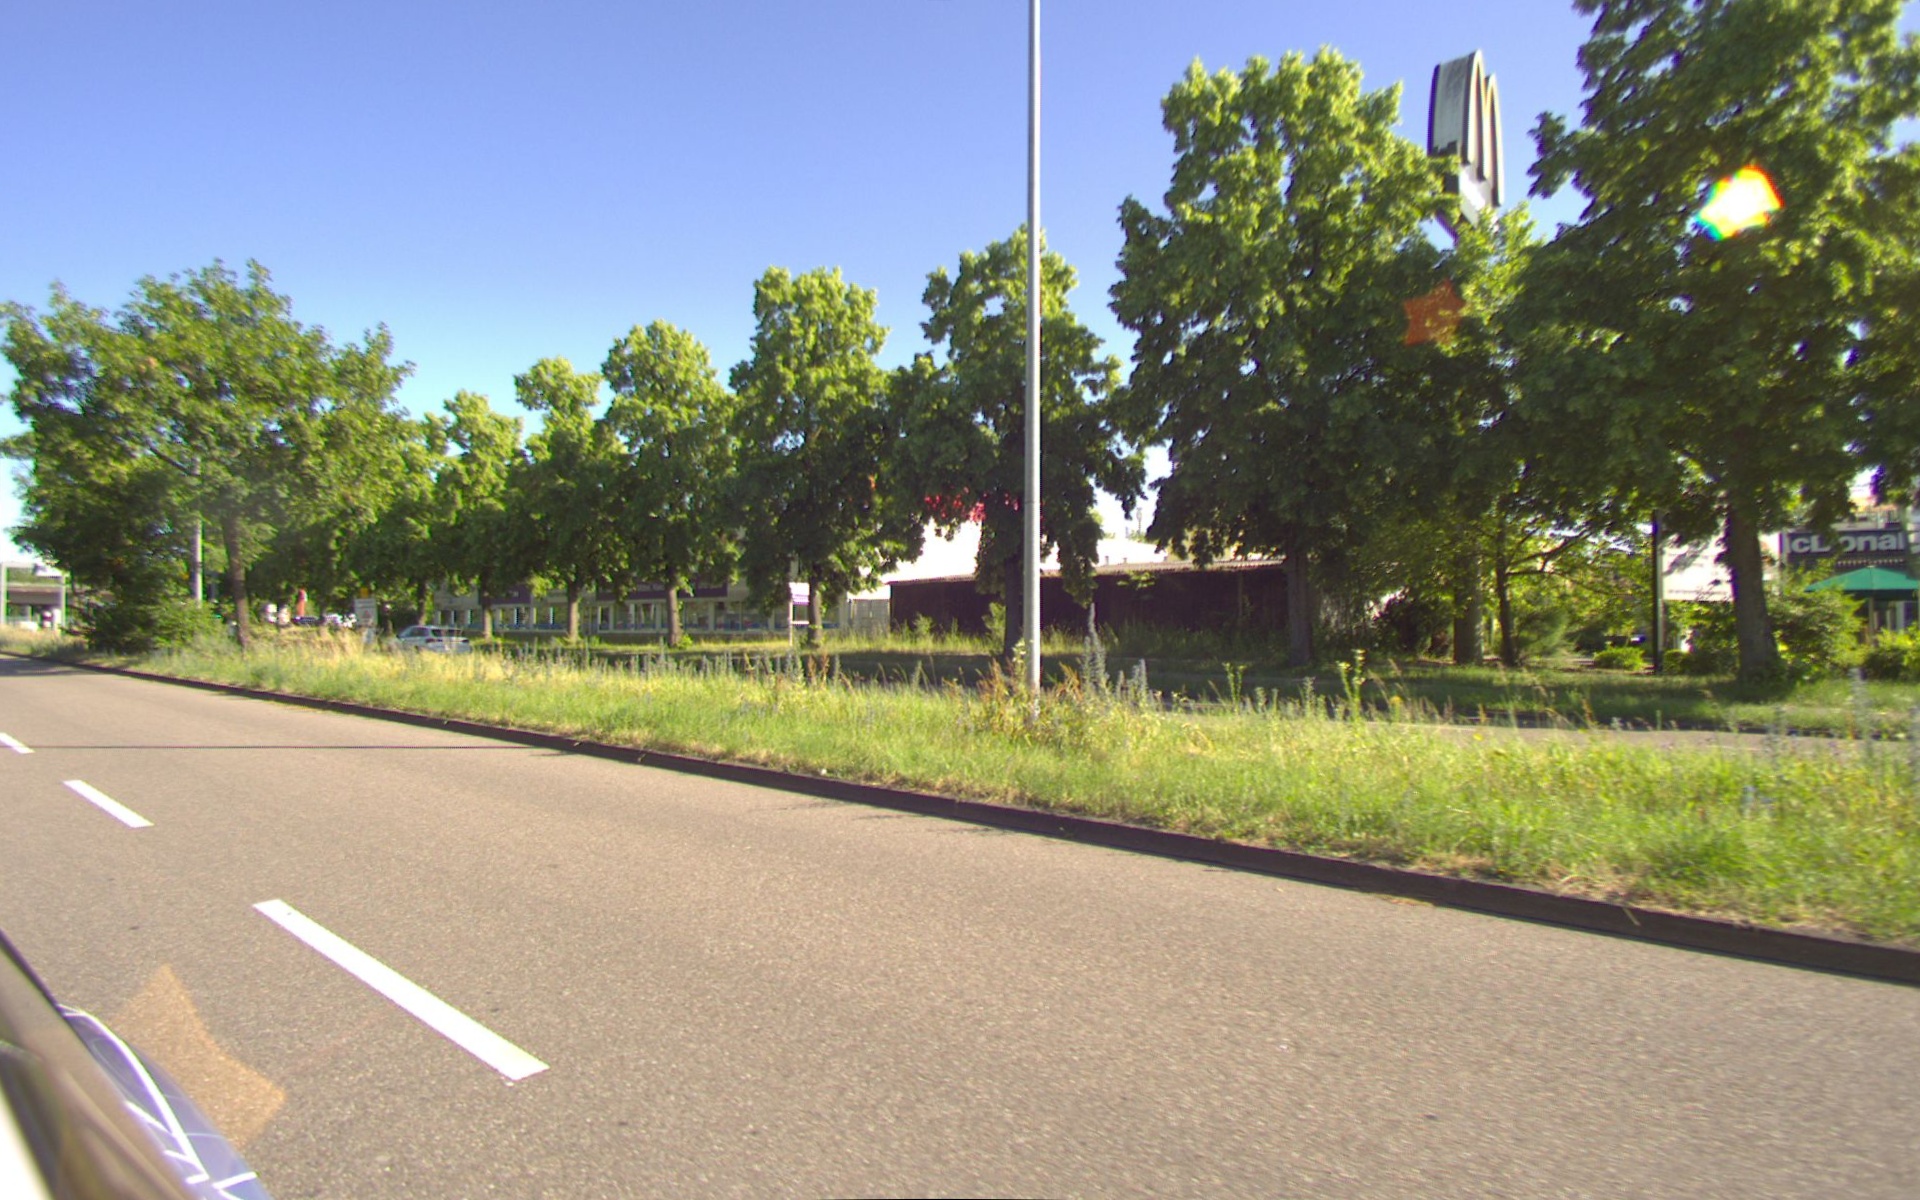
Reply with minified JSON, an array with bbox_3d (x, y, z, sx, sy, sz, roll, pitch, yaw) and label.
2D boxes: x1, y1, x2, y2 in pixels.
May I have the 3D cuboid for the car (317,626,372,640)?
[{"bbox_3d":[-64.308,3.447,105.809,1.946,1.399,4.571,-2,-3,41],"label":"car"}]

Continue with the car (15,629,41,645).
[{"bbox_3d":[-105.176,4.121,114.204,4.162,1.760,1.689,-2,-2,40],"label":"car"}]

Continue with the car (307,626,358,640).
[{"bbox_3d":[-66.310,3.475,106.991,1.944,1.399,4.079,-2,-3,38],"label":"car"}]

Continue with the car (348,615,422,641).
[{"bbox_3d":[-56.219,2.799,99.069,2.203,2.452,5.821,-2,-3,37],"label":"car"}]

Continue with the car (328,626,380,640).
[{"bbox_3d":[-62.232,3.429,103.954,1.944,1.399,4.079,-2,-3,37],"label":"car"}]

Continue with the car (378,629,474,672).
[{"bbox_3d":[-20.631,1.957,39.000,4.527,1.532,1.737,-2,-5,42],"label":"car"}]
